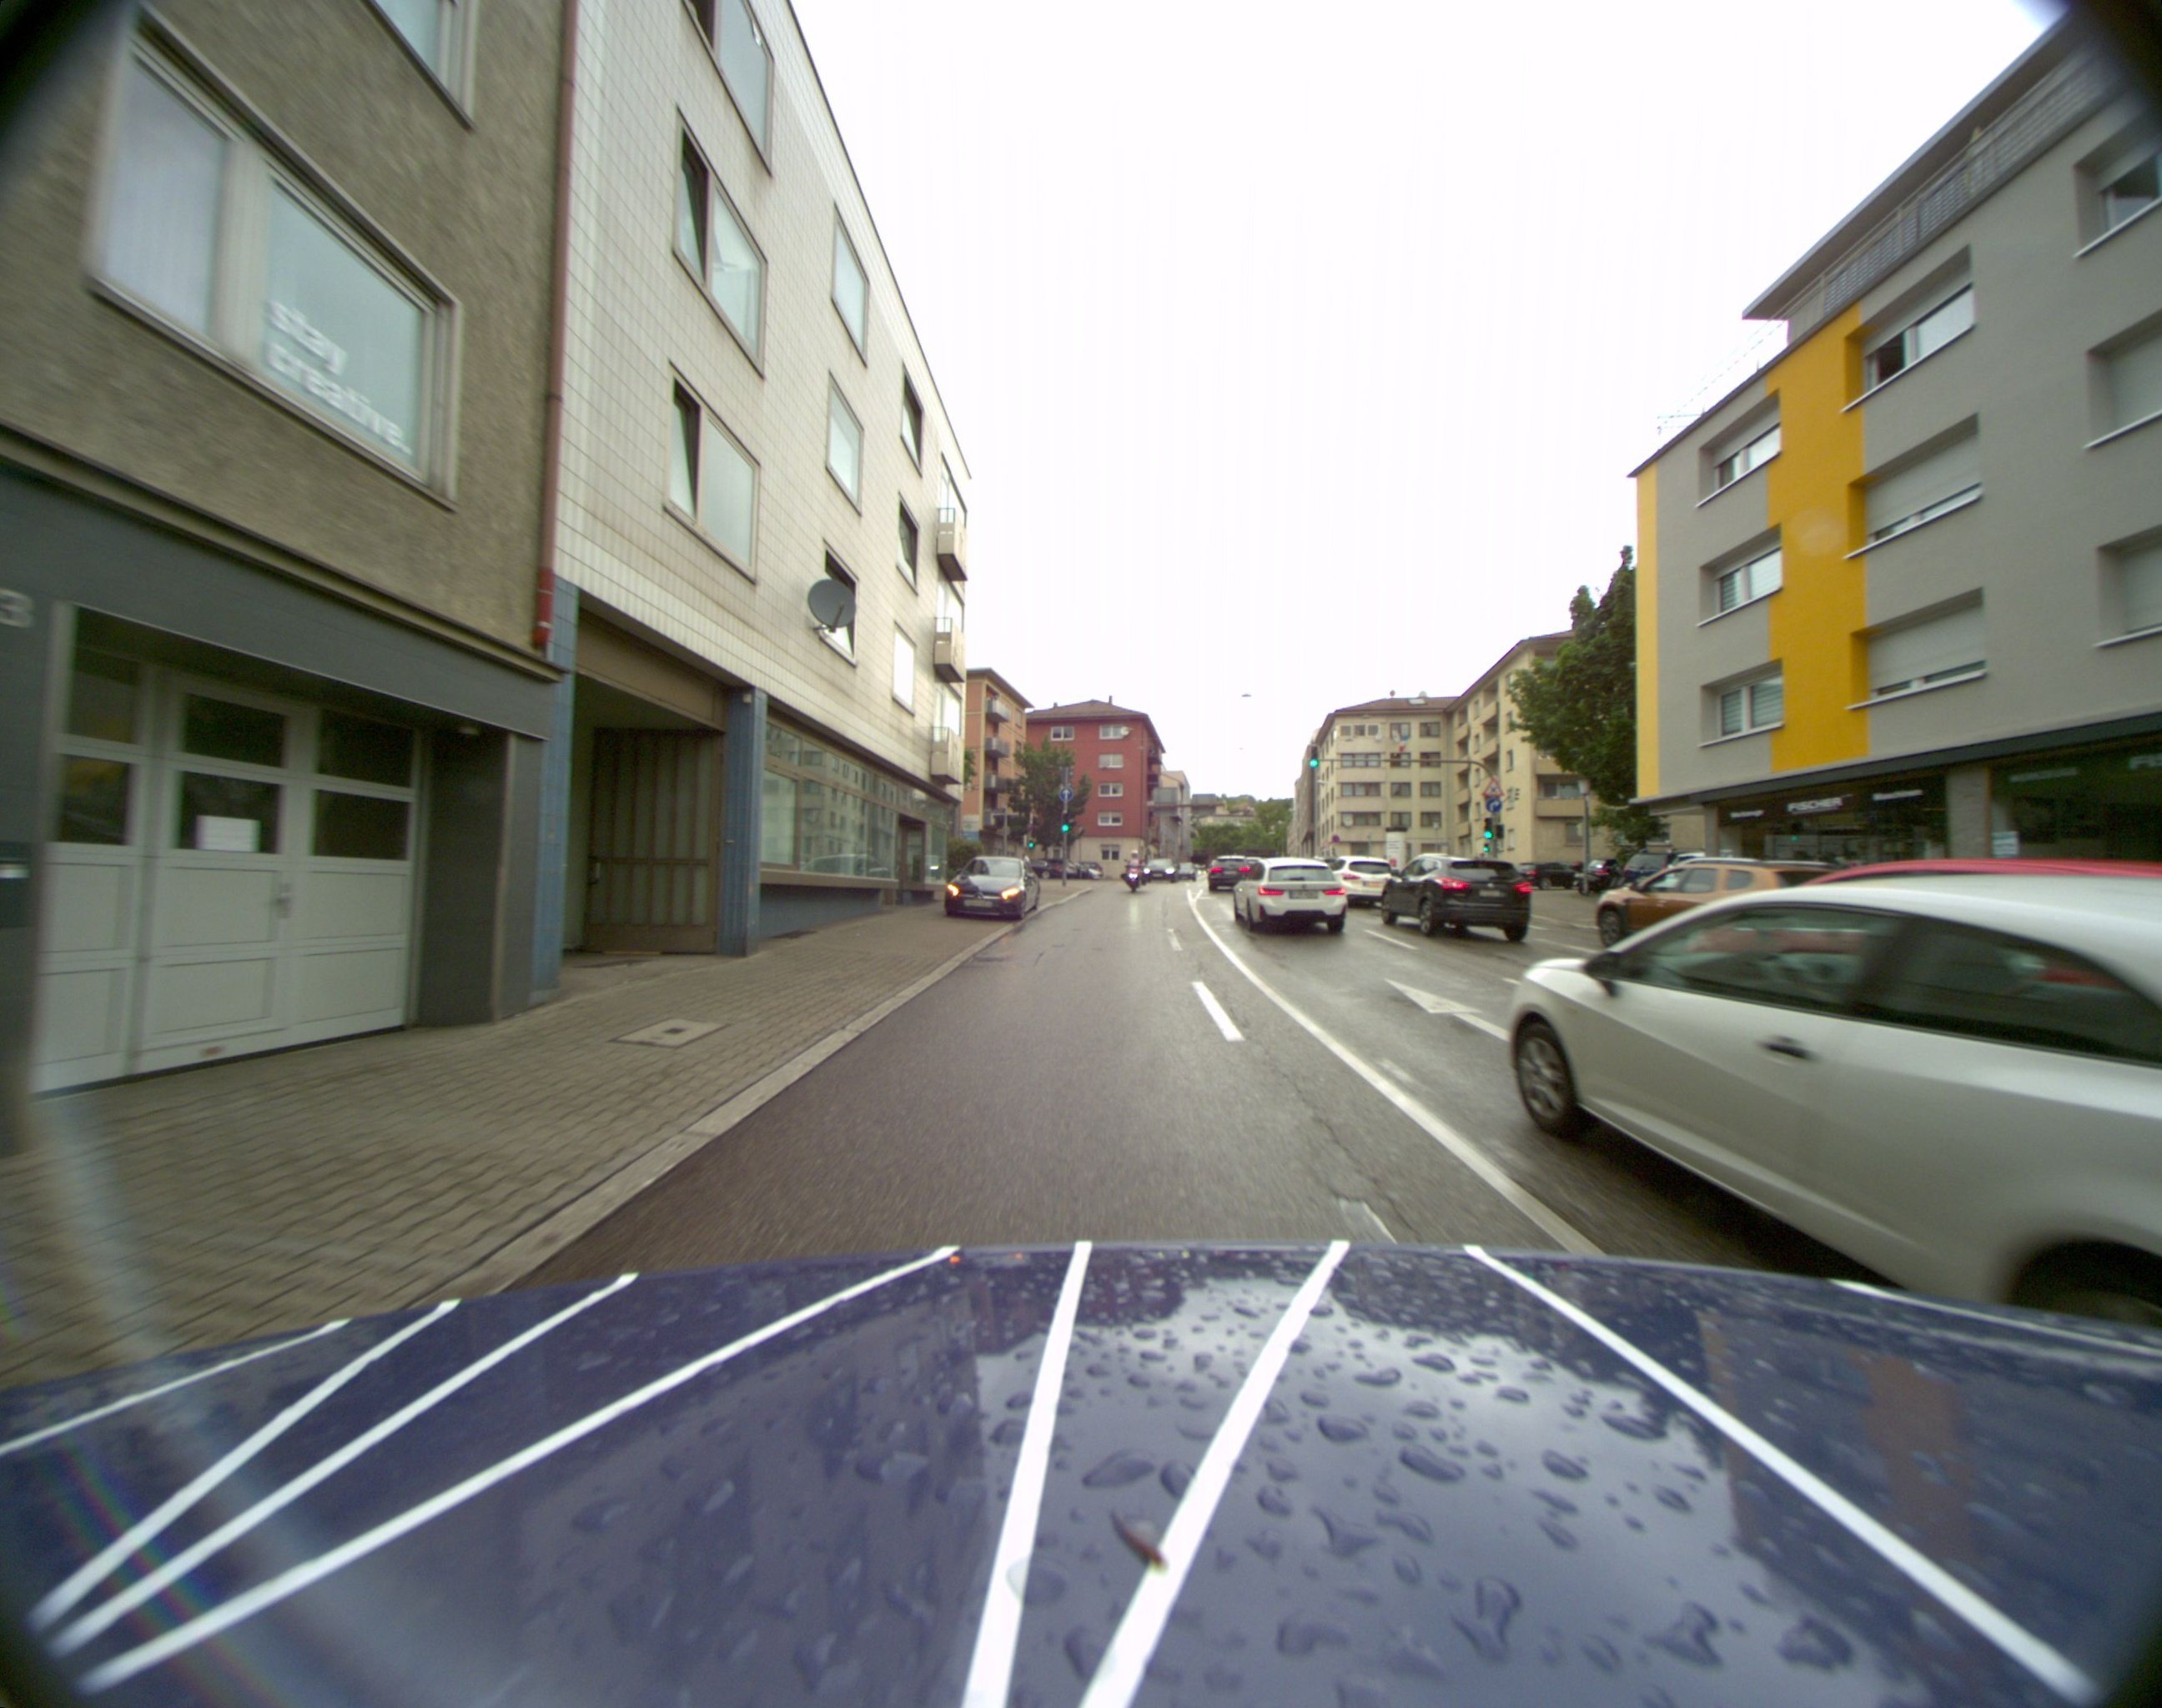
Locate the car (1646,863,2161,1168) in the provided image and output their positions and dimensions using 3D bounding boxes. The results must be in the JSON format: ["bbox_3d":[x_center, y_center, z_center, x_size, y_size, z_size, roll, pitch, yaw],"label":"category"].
[{"bbox_3d":[6.585,0.912,5.557,1.744,1.507,4.129,2,1,0],"label":"car"}]

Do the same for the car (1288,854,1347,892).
[{"bbox_3d":[10.027,0.797,32.509,1.822,1.469,4.383,1,-1,9],"label":"car"}]

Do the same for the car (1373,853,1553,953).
[{"bbox_3d":[7.541,0.848,15.541,1.810,1.622,4.344,3,1,6],"label":"car"}]

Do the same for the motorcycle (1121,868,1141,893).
[{"bbox_3d":[2.014,1.066,30.944,0.637,0.921,2.365,-1,0,0],"label":"motorcycle"}]

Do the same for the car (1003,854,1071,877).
[{"bbox_3d":[-3.383,0.879,58.280,4.786,1.545,1.852,2,-1,14],"label":"car"}]

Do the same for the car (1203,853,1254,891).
[{"bbox_3d":[6.130,0.708,31.933,1.810,1.407,4.381,1,1,7],"label":"car"}]

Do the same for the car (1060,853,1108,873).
[{"bbox_3d":[0.282,0.883,71.063,3.990,1.694,2.005,-2,-4,24],"label":"car"}]

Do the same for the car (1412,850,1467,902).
[{"bbox_3d":[14.533,0.877,30.673,1.728,1.819,4.069,6,2,27],"label":"car"}]

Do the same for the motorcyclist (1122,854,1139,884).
[{"bbox_3d":[2.015,0.605,30.900,0.654,1.216,0.658,0,0,-2],"label":"motorcyclist"}]

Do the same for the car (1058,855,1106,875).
[{"bbox_3d":[0.108,0.992,68.492,3.990,1.571,1.679,-3,-4,30],"label":"car"}]

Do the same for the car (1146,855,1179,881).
[{"bbox_3d":[4.799,0.822,44.787,1.873,1.433,4.003,-1,-1,6],"label":"car"}]

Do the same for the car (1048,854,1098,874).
[{"bbox_3d":[-0.719,0.881,66.362,3.991,1.687,1.804,0,-3,19],"label":"car"}]

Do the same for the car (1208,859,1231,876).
[{"bbox_3d":[12.521,1.217,68.519,1.838,1.545,4.005,0,-1,13],"label":"car"}]

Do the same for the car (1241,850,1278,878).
[{"bbox_3d":[10.592,0.562,45.346,1.822,1.528,4.381,1,2,9],"label":"car"}]

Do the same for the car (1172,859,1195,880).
[{"bbox_3d":[9.316,1.447,69.005,1.792,1.716,4.006,-1,-4,11],"label":"car"}]

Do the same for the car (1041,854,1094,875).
[{"bbox_3d":[-1.138,0.901,63.688,3.990,1.709,1.997,0,-1,24],"label":"car"}]

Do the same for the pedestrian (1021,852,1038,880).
[{"bbox_3d":[-3.139,0.756,46.256,0.760,1.636,0.709,5,-4,-24],"label":"pedestrian"}]

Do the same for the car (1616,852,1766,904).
[{"bbox_3d":[21.747,0.820,27.150,4.348,1.719,1.771,0,2,-12],"label":"car"}]

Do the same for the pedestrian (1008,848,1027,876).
[{"bbox_3d":[-3.875,0.494,46.448,0.756,1.636,0.712,1,-4,35],"label":"pedestrian"}]

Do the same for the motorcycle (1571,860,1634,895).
[{"bbox_3d":[19.936,0.888,29.079,1.990,1.321,0.540,0,-1,2],"label":"motorcycle"}]

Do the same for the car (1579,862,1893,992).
[{"bbox_3d":[10.170,1.012,12.274,1.659,1.601,3.928,2,1,1],"label":"car"}]

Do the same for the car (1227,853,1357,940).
[{"bbox_3d":[4.279,0.766,16.129,1.810,1.512,4.562,1,1,5],"label":"car"}]

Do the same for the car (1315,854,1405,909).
[{"bbox_3d":[8.540,0.817,23.640,1.810,1.533,4.383,1,-1,9],"label":"car"}]

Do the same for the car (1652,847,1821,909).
[{"bbox_3d":[21.278,0.750,24.762,3.998,1.783,1.860,-2,0,-5],"label":"car"}]

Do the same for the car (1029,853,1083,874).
[{"bbox_3d":[-1.971,0.792,60.894,3.994,1.650,1.995,0,-1,9],"label":"car"}]

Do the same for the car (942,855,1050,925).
[{"bbox_3d":[-1.954,0.781,18.846,1.767,1.384,4.380,3,1,5],"label":"car"}]

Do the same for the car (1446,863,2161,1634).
[{"bbox_3d":[3.157,0.847,2.847,1.702,1.471,4.291,-2,1,3],"label":"car"}]
